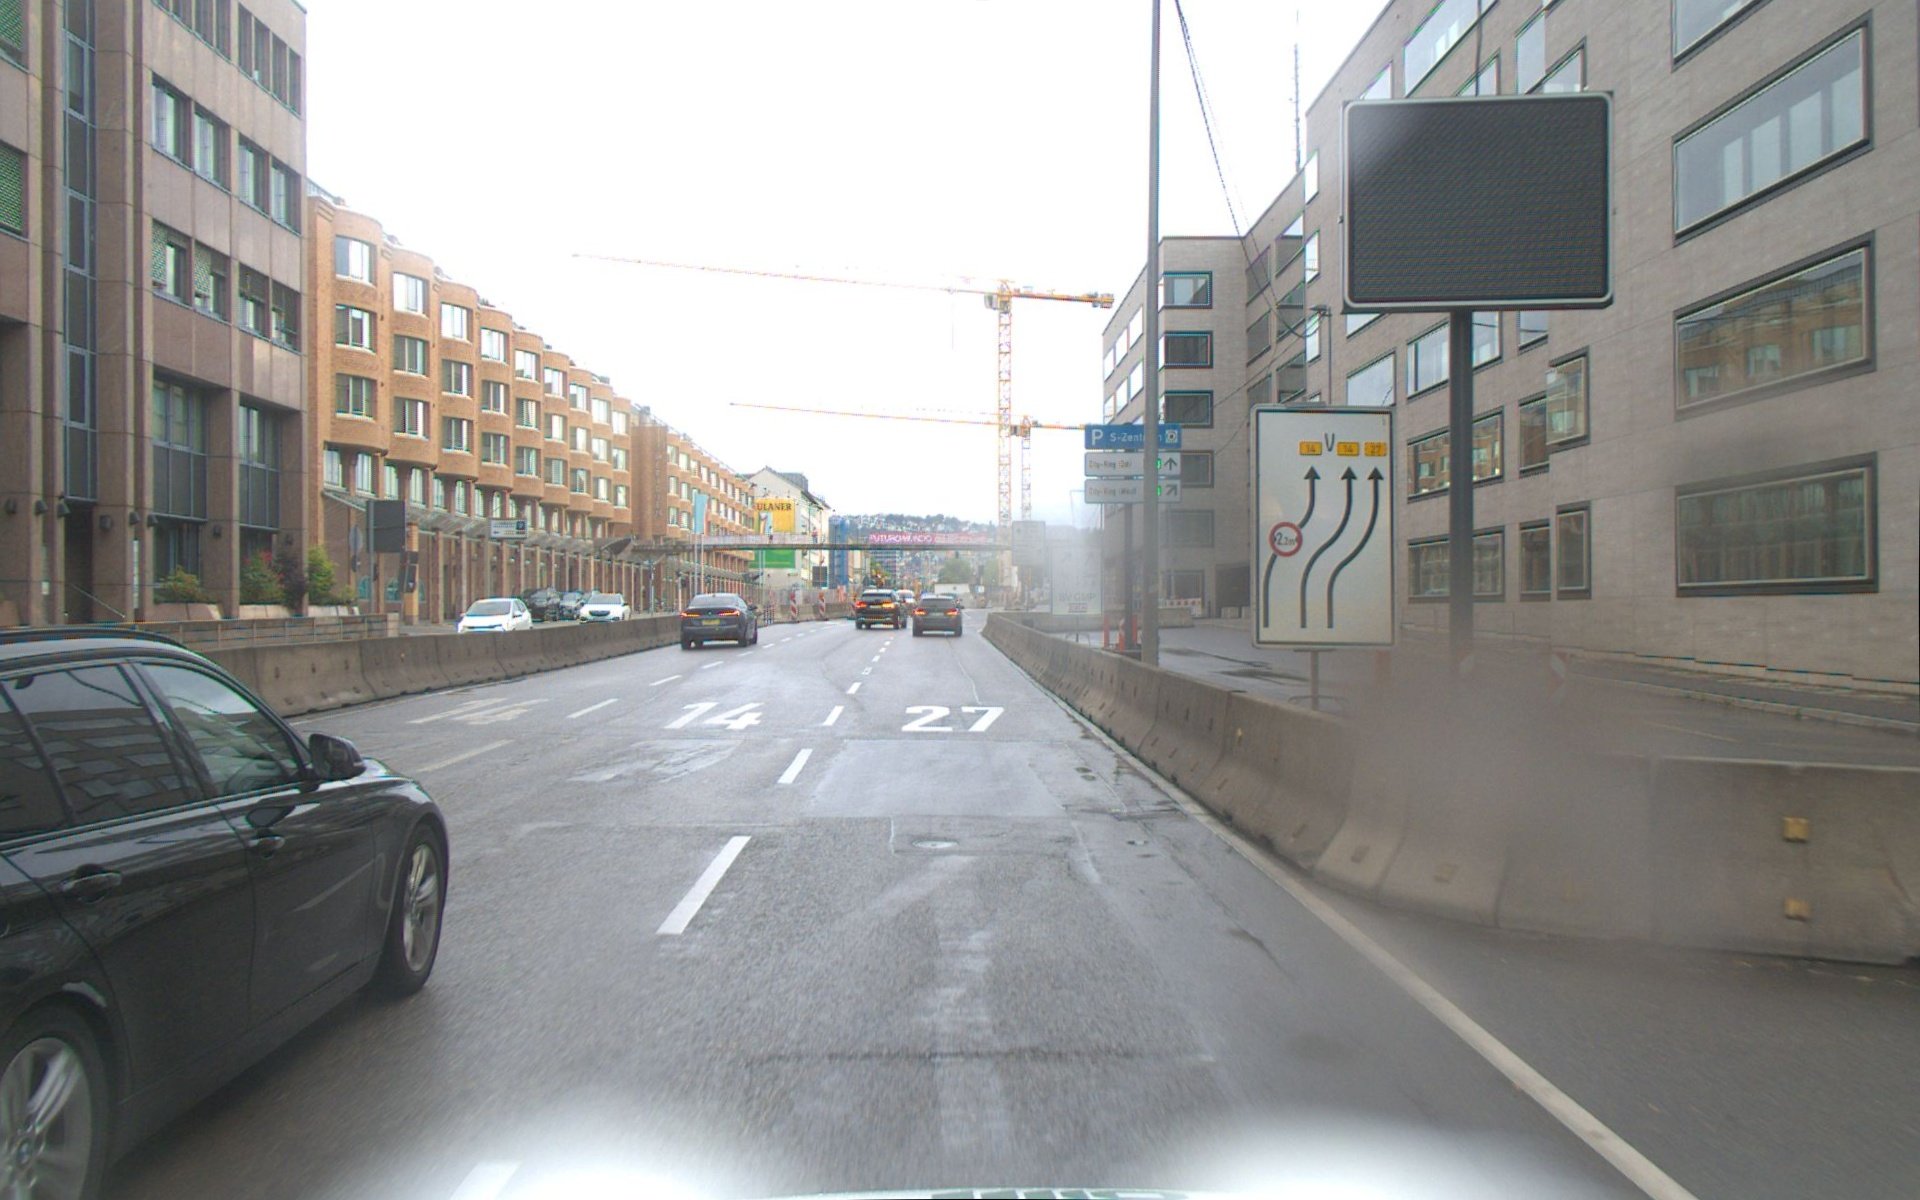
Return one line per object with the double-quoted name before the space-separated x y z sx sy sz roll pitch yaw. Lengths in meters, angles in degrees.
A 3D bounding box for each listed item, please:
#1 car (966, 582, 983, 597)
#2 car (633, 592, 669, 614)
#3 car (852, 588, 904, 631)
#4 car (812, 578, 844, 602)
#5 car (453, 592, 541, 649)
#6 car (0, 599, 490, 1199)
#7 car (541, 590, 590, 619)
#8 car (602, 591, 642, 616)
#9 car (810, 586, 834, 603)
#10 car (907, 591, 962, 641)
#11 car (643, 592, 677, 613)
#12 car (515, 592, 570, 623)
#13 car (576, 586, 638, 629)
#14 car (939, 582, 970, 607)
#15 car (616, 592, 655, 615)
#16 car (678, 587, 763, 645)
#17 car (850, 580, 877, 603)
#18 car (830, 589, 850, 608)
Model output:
"car" 1.748 -1.231 198.921 1.860 1.723 4.001 -1 0 2
"car" -24.017 0.203 128.623 1.953 1.648 4.689 -1 0 -1
"car" -3.498 0.391 71.363 1.860 1.723 4.001 -1 0 2
"car" -9.414 -0.721 118.210 1.953 1.648 4.762 -1 0 -1
"car" -13.684 0.578 49.073 1.570 1.467 3.657 -1 2 -1
"car" -2.781 0.726 4.575 1.755 1.451 4.611 0 0 -2
"car" -23.946 0.271 100.637 1.953 1.648 4.317 -1 0 -1
"car" -23.995 0.248 117.497 1.953 1.648 4.317 -1 0 -1
"car" -13.804 -0.517 165.735 1.953 1.648 4.762 -1 0 -1
"car" -0.911 0.574 61.345 1.861 1.723 4.000 -1 0 1
"car" -24.403 0.218 134.580 1.953 1.648 4.689 -1 0 -1
"car" -23.527 0.390 93.347 1.953 1.648 4.762 -1 0 -1
"car" -15.193 0.290 71.444 1.783 1.647 4.191 -1 2 -1
"car" -0.376 -0.403 120.735 1.860 1.723 4.002 -1 0 5
"car" -24.061 0.232 122.734 1.953 1.648 4.689 -1 0 -1
"car" -6.510 0.417 45.309 1.754 1.451 4.383 -1 0 -2
"car" -8.136 -0.678 139.612 1.953 1.858 4.762 -1 0 -1
"car" -13.245 -0.201 182.727 1.953 2.049 4.000 -1 0 0
